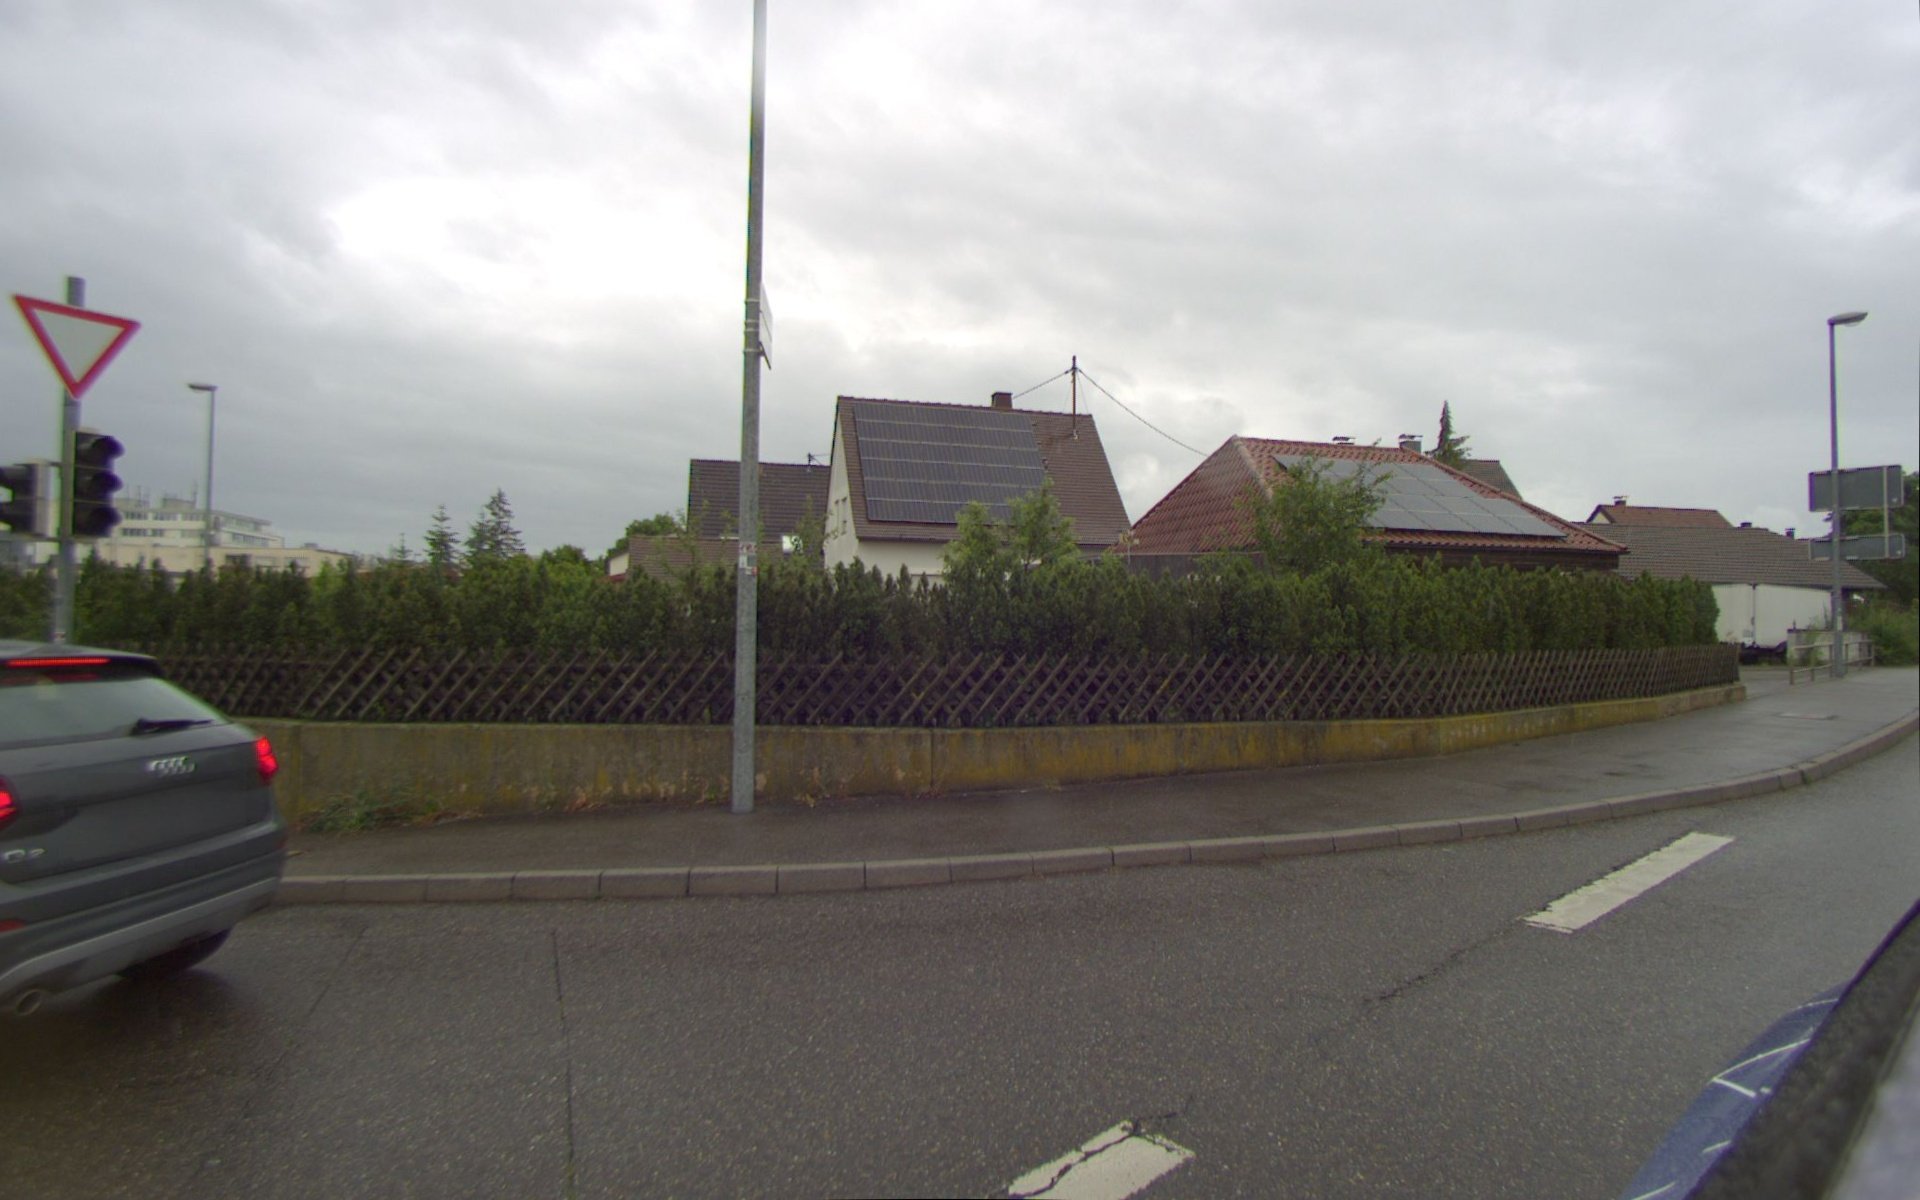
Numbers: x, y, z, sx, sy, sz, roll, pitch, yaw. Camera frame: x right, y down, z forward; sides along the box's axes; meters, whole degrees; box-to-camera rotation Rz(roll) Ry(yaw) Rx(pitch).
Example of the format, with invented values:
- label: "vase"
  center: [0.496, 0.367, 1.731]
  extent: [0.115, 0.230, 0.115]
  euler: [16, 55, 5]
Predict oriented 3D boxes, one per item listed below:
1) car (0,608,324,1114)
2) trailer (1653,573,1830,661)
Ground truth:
- label: "car"
  center: [-4.805, 0.788, 3.743]
  extent: [3.865, 1.514, 1.688]
  euler: [0, -1, 1]
- label: "trailer"
  center: [23.720, 0.513, 30.748]
  extent: [4.605, 2.550, 1.652]
  euler: [0, -2, -13]
